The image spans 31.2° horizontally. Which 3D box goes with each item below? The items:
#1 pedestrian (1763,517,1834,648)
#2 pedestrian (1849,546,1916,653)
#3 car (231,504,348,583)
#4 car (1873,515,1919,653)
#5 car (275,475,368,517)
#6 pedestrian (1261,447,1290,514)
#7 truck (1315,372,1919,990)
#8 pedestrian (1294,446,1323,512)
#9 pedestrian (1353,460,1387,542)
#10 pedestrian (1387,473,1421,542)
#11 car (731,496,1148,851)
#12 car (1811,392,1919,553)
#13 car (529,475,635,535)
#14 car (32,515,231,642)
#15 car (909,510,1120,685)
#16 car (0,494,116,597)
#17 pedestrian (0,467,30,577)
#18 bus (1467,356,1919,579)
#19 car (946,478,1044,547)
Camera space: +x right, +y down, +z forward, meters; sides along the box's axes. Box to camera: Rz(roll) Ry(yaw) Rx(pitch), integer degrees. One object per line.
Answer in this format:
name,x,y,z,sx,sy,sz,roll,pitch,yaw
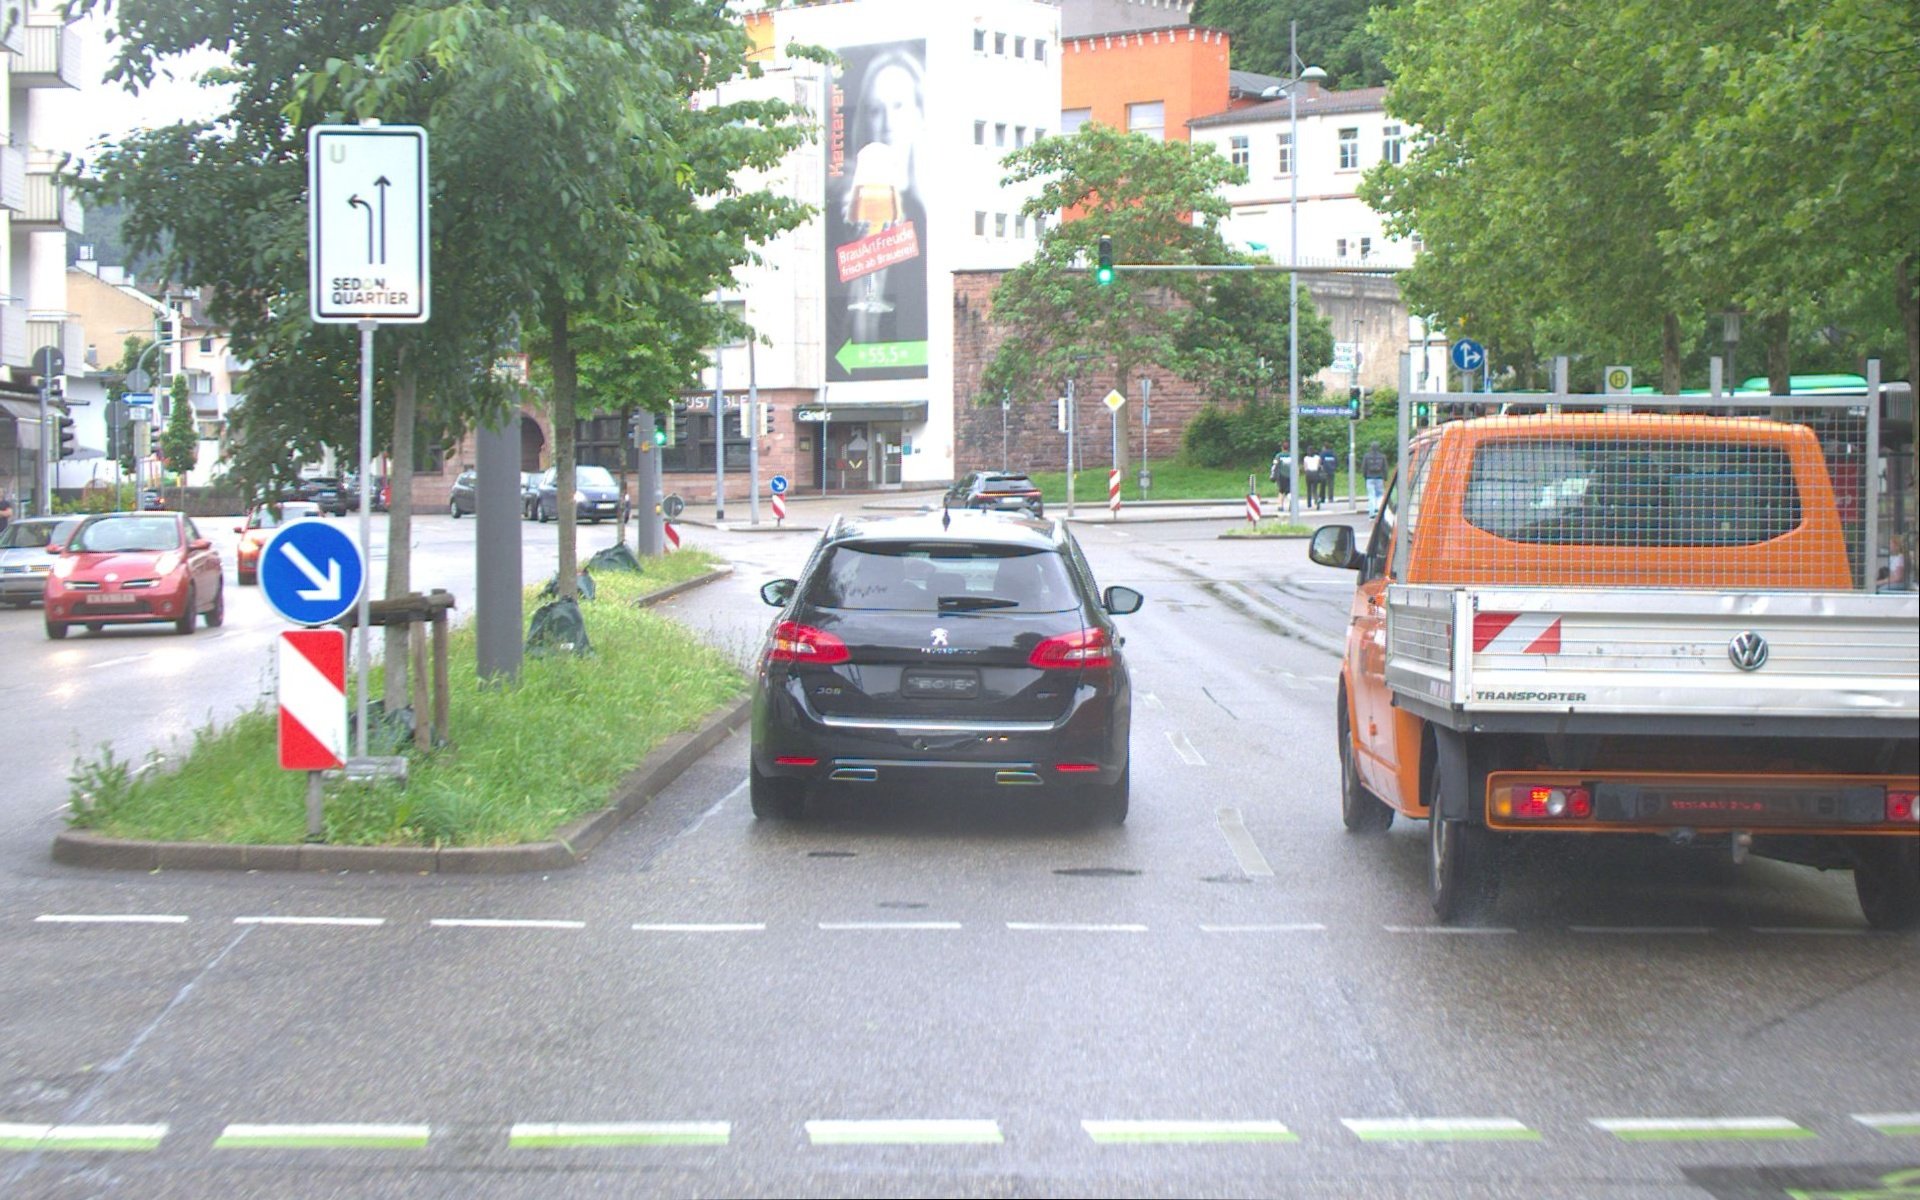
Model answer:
pedestrian,11.021,-0.236,45.207,0.724,1.694,0.623,1,1,-2
pedestrian,11.924,-0.011,44.435,0.621,1.353,0.727,1,1,-1
car,-12.311,-1.059,63.281,1.690,1.396,3.662,0,2,-4
car,12.519,-0.101,38.622,3.987,1.504,1.743,3,2,0
car,-23.717,-3.868,127.587,3.598,1.505,1.596,3,2,45
pedestrian,8.014,-3.040,87.348,0.639,1.658,0.563,-1,3,-4
truck,2.704,0.205,13.782,2.122,2.018,4.716,1,2,1
pedestrian,8.867,-3.087,87.406,0.639,1.658,0.563,-1,3,-4
pedestrian,9.988,-2.415,83.681,0.718,1.986,0.563,-1,3,-4
pedestrian,10.813,-2.252,83.791,0.718,1.658,0.563,-1,3,-4
car,-0.115,0.265,17.160,1.795,1.478,4.001,2,2,-1
car,17.928,-2.400,65.660,2.072,2.960,4.228,1,1,-3
car,-10.530,-2.626,95.572,1.644,1.559,3.600,3,-1,-28
car,-9.820,-0.293,40.986,1.664,1.395,3.877,-1,2,-4
car,0.442,-0.075,31.250,1.795,1.478,4.001,0,2,-1
car,-14.278,-0.866,53.223,1.777,1.520,3.662,0,2,-4
pedestrian,-17.846,-1.458,64.029,0.726,2.007,0.657,3,-1,-37
bus,21.738,-3.179,84.689,17.917,5.193,3.099,1,1,0
car,0.852,-2.169,85.882,1.644,1.559,3.601,3,-1,-12
